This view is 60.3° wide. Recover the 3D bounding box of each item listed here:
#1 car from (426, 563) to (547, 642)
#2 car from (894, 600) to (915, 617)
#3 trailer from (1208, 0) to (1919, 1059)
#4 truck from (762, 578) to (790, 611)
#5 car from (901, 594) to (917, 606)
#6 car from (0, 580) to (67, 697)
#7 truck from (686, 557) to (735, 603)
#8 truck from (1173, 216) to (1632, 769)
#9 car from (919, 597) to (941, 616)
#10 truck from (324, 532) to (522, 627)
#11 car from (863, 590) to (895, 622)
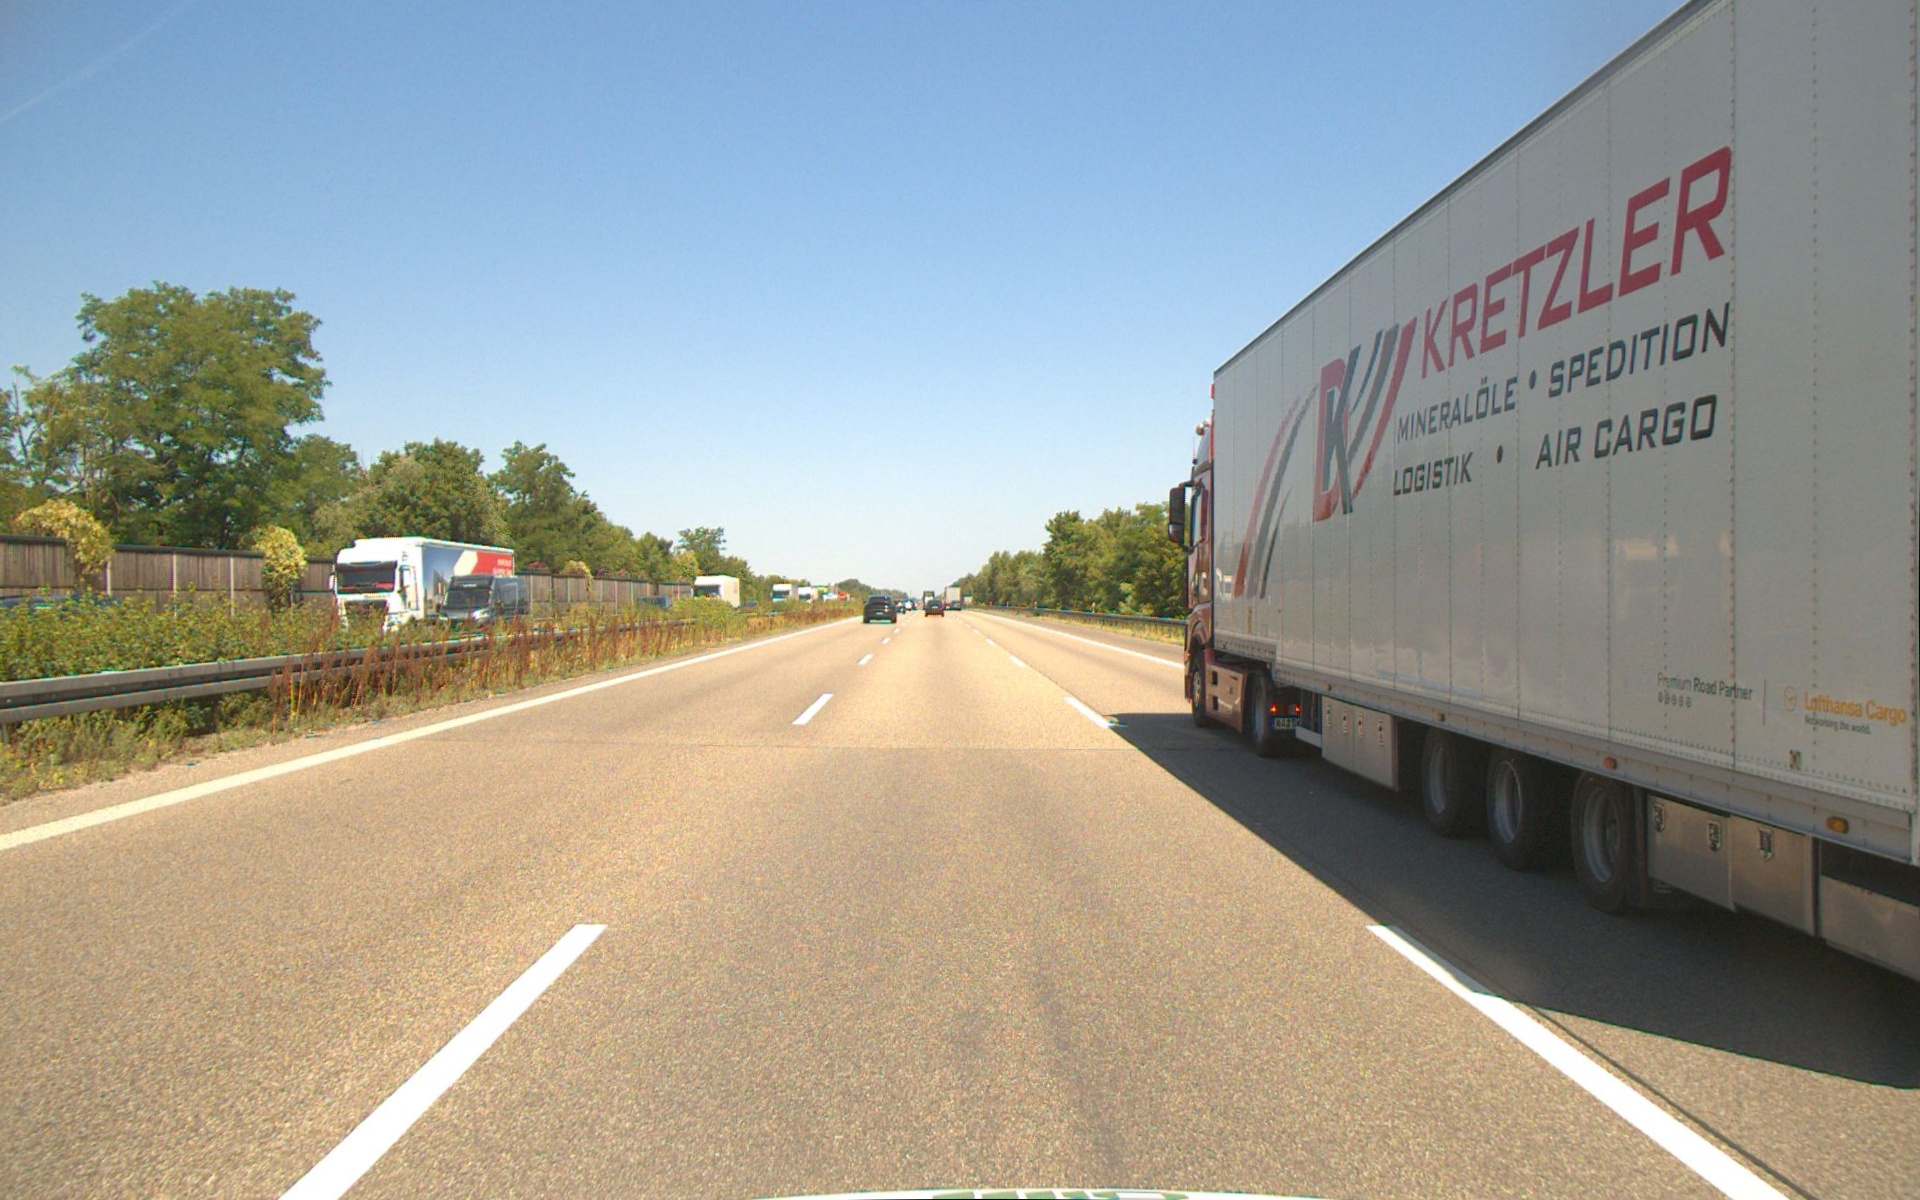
[{"bbox_3d":[-17.601,0.080,61.995,2.269,2.607,7.583,4,0,-1],"label":"car"},{"bbox_3d":[-5.730,0.883,170.853,2.085,1.674,4.303,-1,0,-1],"label":"car"},{"bbox_3d":[4.508,-1.136,11.875,3.203,4.922,14.028,0,1,-1],"label":"trailer"},{"bbox_3d":[-25.765,-0.712,232.287,3.152,4.517,7.869,0,0,-1],"label":"truck"},{"bbox_3d":[-6.977,-0.012,228.480,2.085,1.674,4.303,-1,0,-1],"label":"car"},{"bbox_3d":[-13.045,0.494,19.863,1.851,1.480,5.269,0,0,-1],"label":"car"},{"bbox_3d":[-23.562,-1.832,156.664,3.509,4.175,7.837,-1,0,-1],"label":"truck"},{"bbox_3d":[4.454,-1.017,18.445,3.168,4.974,6.971,0,1,-1],"label":"truck"},{"bbox_3d":[-2.546,0.567,141.758,1.864,1.611,4.303,-1,0,-1],"label":"car"},{"bbox_3d":[-21.576,-0.849,68.049,2.780,3.400,17.003,0,1,-1],"label":"truck"},{"bbox_3d":[-4.838,0.322,99.347,1.842,1.823,3.999,0,1,-2],"label":"car"}]
